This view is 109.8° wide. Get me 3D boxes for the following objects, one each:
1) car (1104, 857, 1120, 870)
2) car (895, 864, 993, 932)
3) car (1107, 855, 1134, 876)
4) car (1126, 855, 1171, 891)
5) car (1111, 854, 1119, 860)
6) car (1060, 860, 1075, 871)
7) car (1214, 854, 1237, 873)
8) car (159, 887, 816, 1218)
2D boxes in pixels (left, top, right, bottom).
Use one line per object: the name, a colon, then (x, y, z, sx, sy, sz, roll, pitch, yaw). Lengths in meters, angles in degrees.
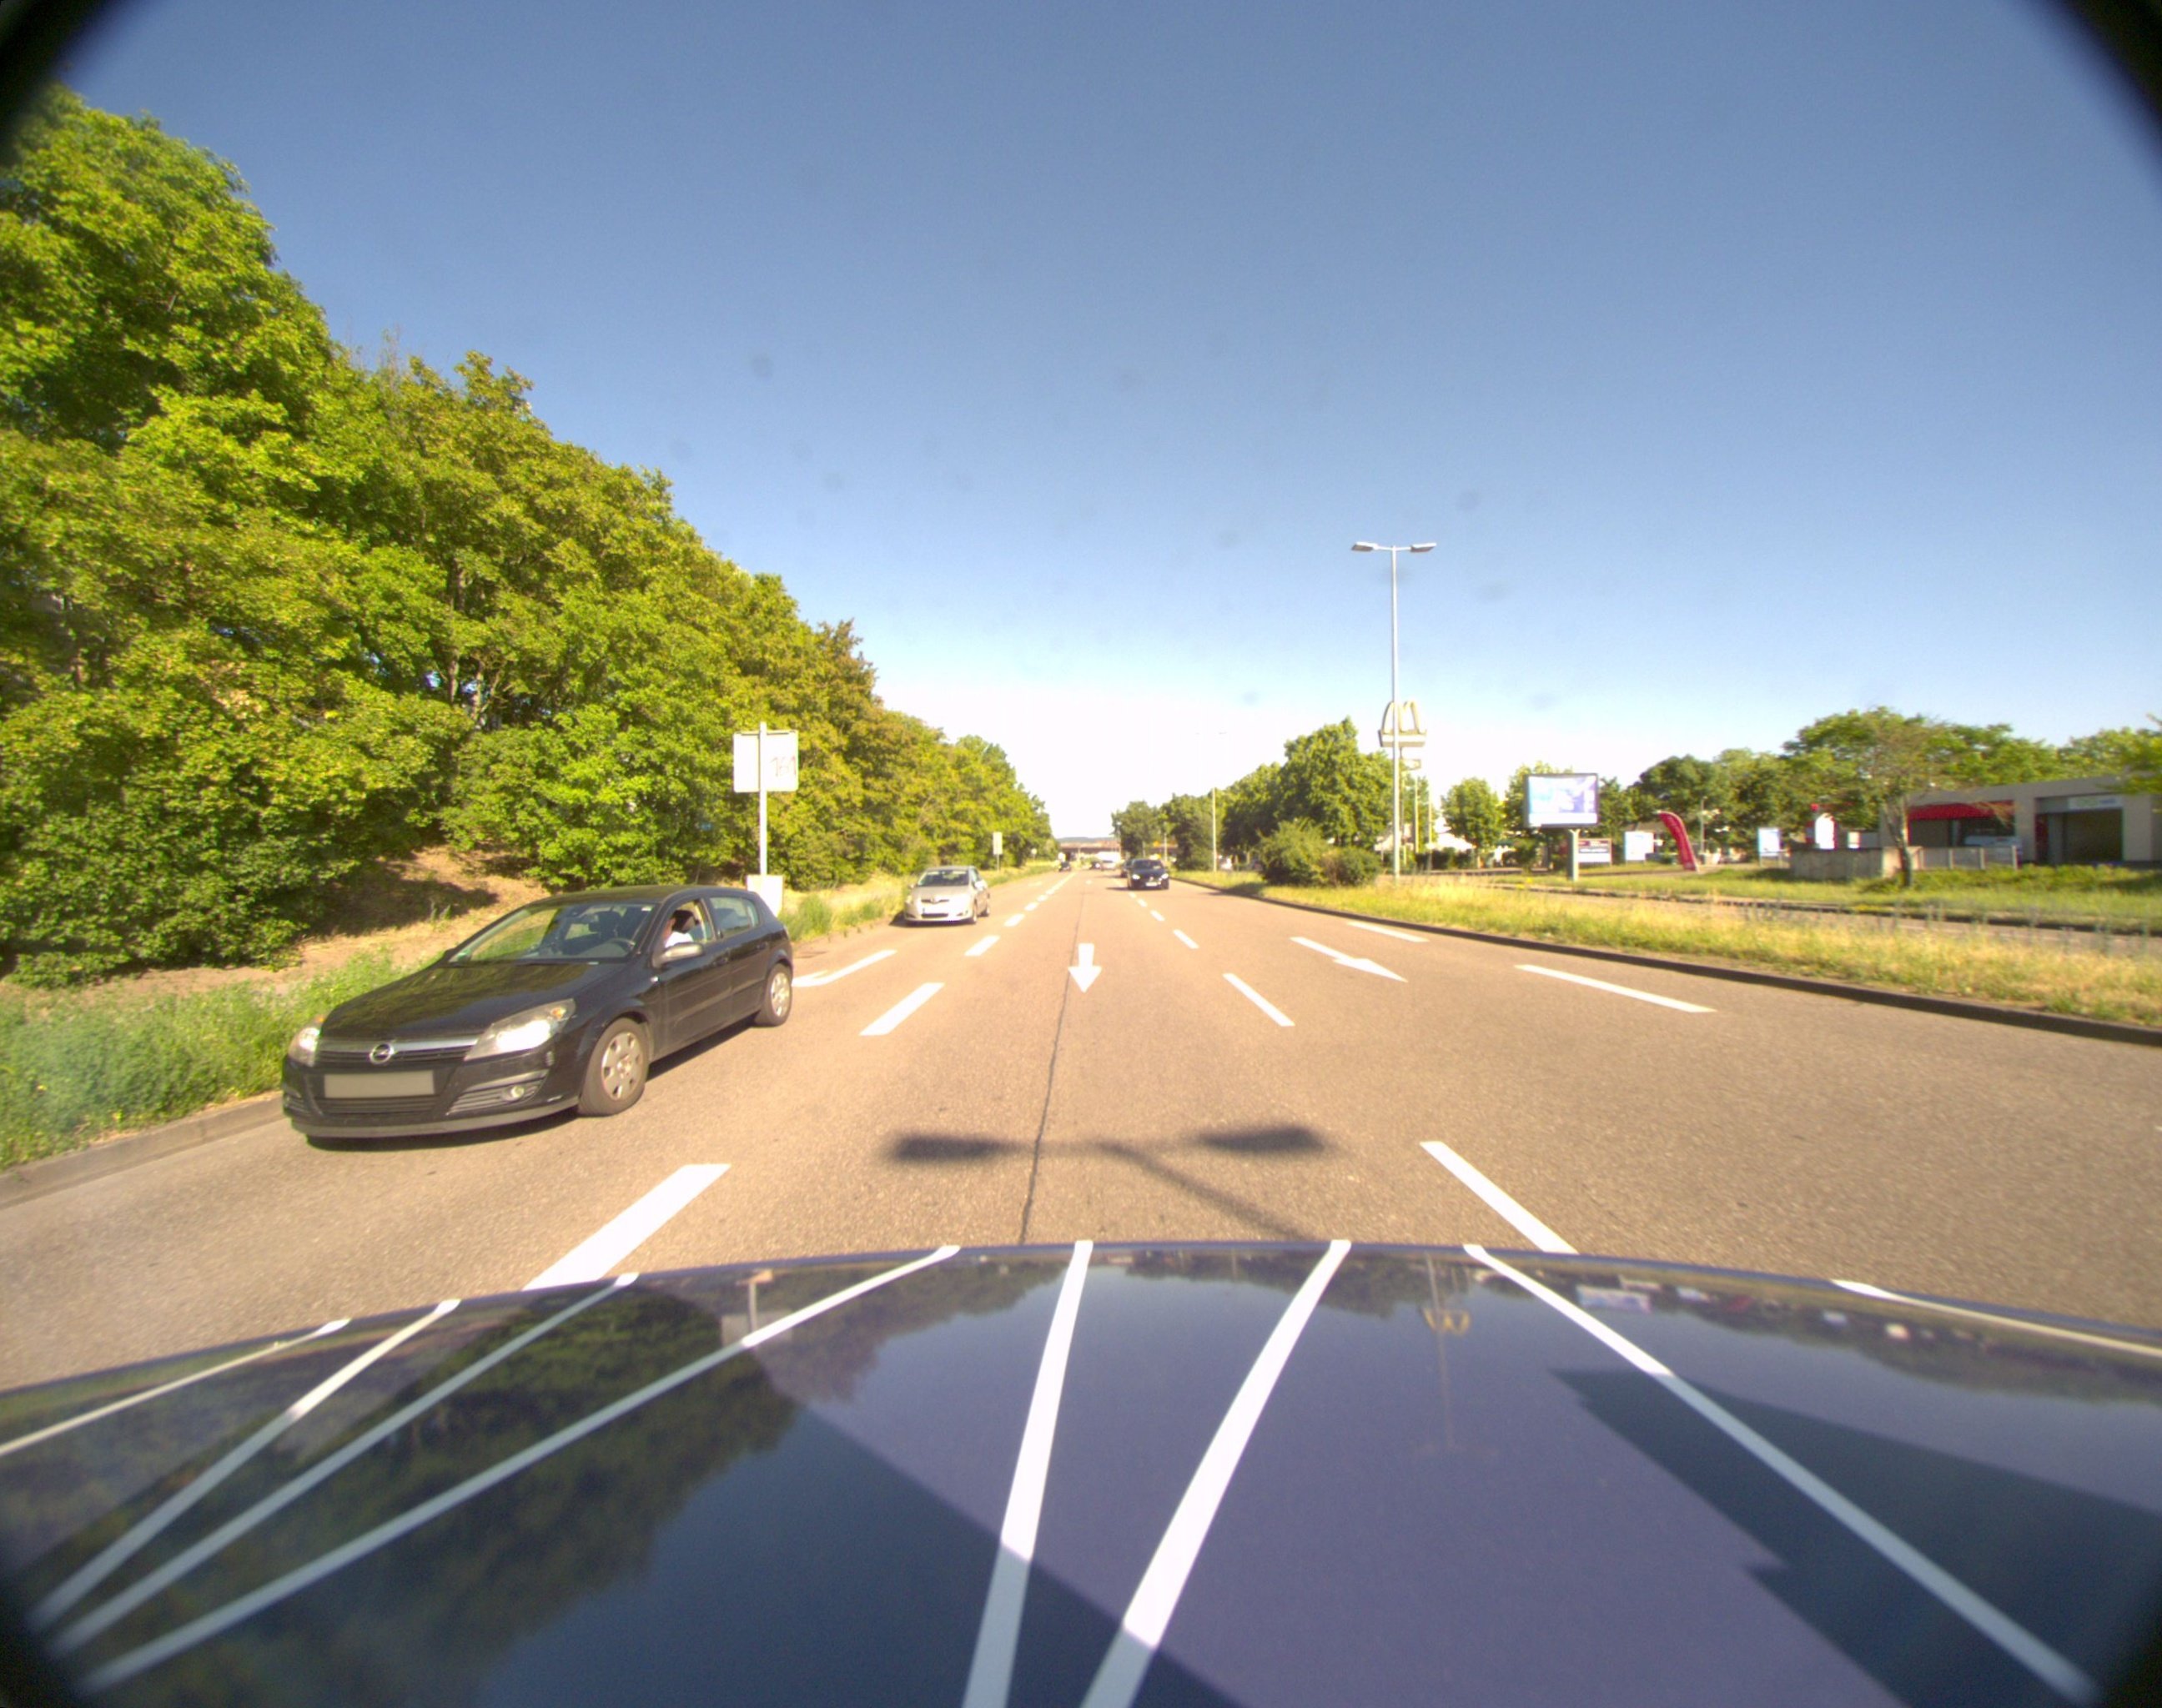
car: (4.094, 1.211, 101.594, 2.025, 1.601, 4.098, -2, 0, 1)
car: (-3.535, 1.099, 20.352, 1.788, 1.528, 4.108, -2, 0, 1)
car: (3.172, 0.937, 61.778, 1.952, 1.501, 4.462, -2, 1, 1)
car: (3.260, 0.875, 37.467, 1.788, 1.592, 4.583, -1, 0, 0)
car: (9.034, 0.756, 201.356, 1.998, 1.433, 4.000, -1, 0, 2)
car: (-2.035, 1.697, 113.165, 2.036, 1.601, 4.098, -2, 0, 1)
car: (14.328, 0.936, 75.554, 1.649, 1.803, 3.706, -2, 1, 1)
car: (-3.815, 1.122, 6.094, 1.738, 1.433, 4.371, -2, 0, 1)
